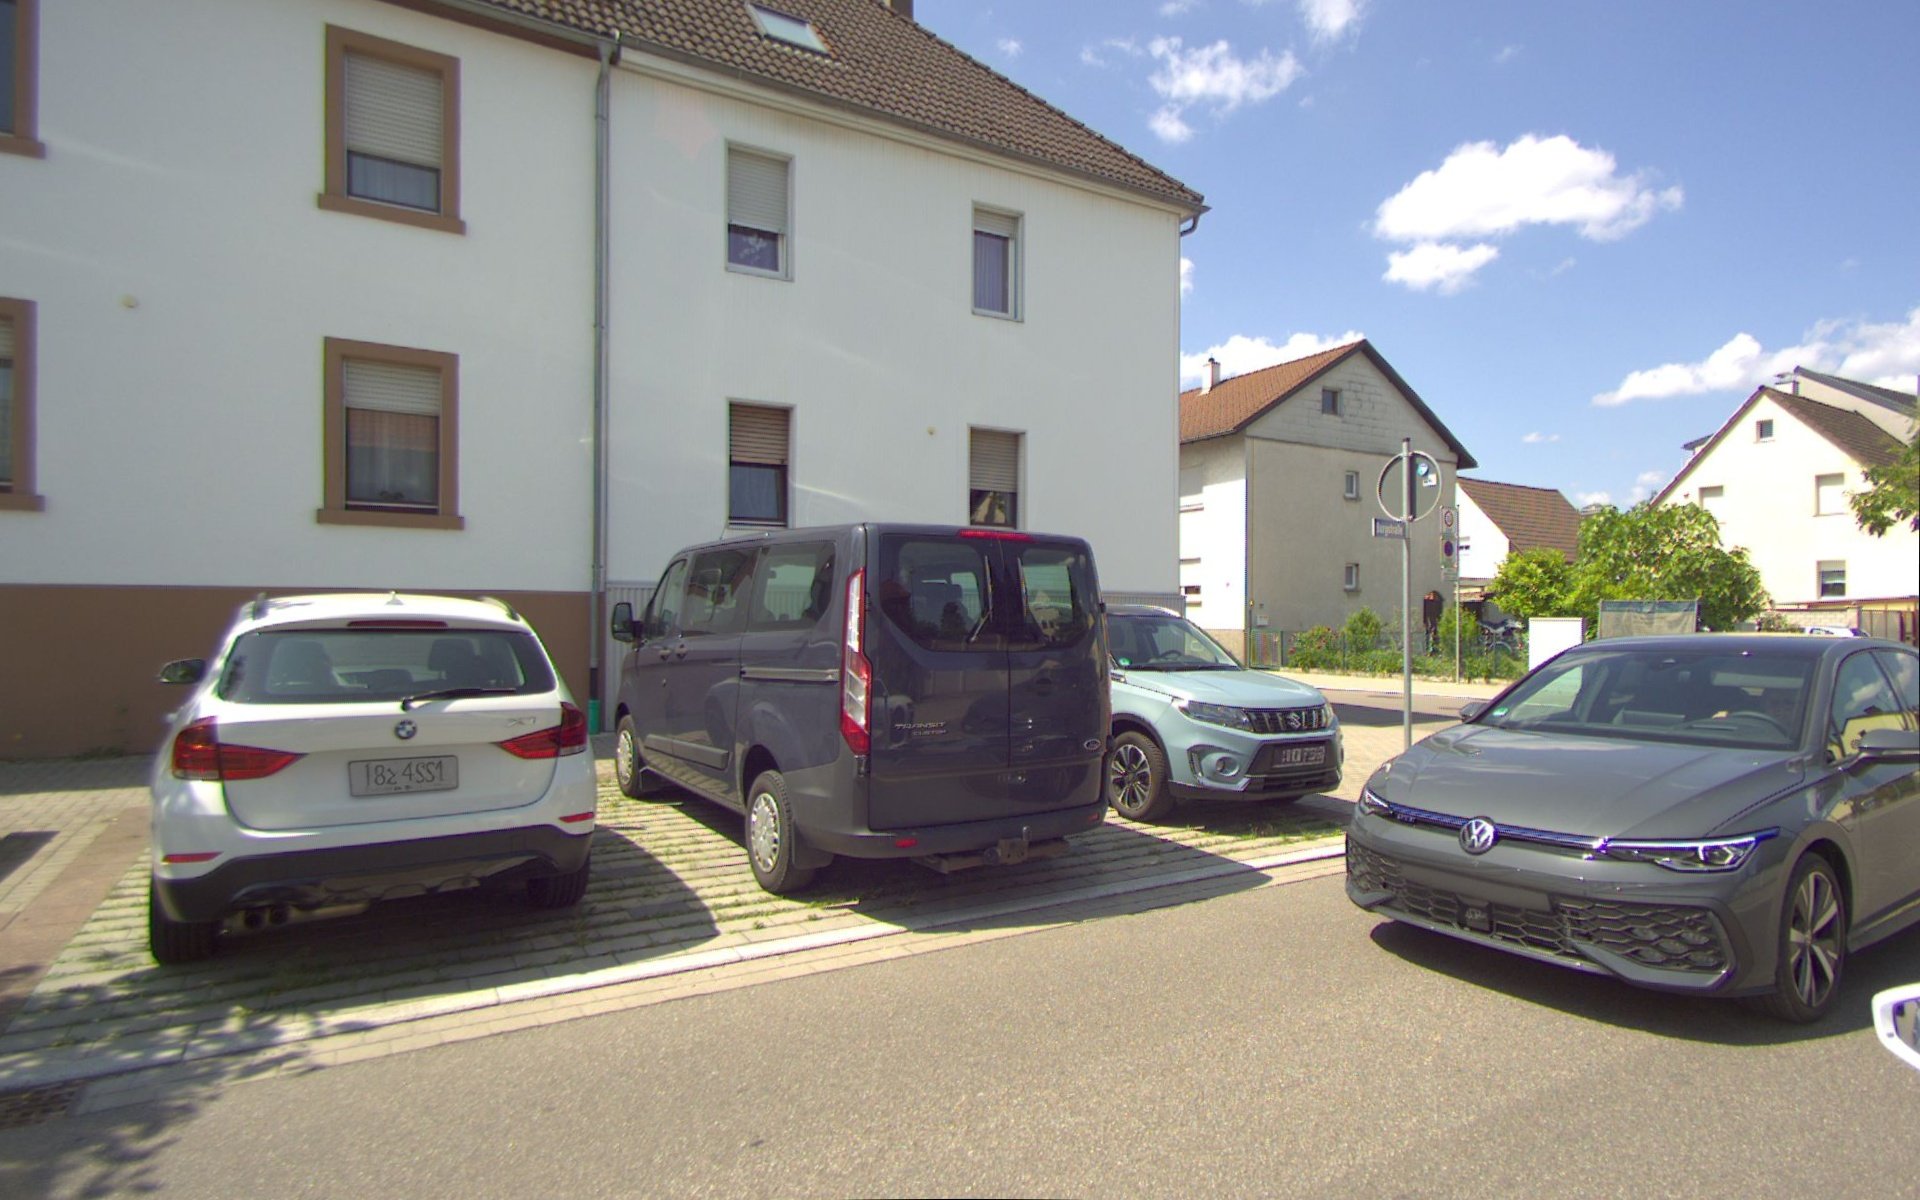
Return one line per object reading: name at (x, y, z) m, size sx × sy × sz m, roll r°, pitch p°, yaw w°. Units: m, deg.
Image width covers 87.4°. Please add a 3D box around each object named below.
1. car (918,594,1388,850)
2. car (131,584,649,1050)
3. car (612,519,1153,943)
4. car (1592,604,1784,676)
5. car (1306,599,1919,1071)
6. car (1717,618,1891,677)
car at (1.394, 0.825, 8.887) m, size 1.752 × 1.641 × 4.154 m, roll 2°, pitch 0°, yaw -31°
car at (-3.290, 0.754, 5.714) m, size 1.756 × 1.589 × 4.157 m, roll 2°, pitch 0°, yaw -34°
car at (-0.955, 0.590, 7.121) m, size 1.916 × 1.949 × 4.676 m, roll 2°, pitch 0°, yaw -31°
car at (20.635, 1.065, 28.644) m, size 1.976 × 1.824 × 3.969 m, roll 1°, pitch 1°, yaw -29°
car at (3.807, 0.844, 5.137) m, size 4.004 × 1.543 × 1.753 m, roll 1°, pitch -3°, yaw -32°
car at (24.874, 1.355, 29.726) m, size 1.768 × 1.490 × 3.512 m, roll 1°, pitch 1°, yaw -26°
